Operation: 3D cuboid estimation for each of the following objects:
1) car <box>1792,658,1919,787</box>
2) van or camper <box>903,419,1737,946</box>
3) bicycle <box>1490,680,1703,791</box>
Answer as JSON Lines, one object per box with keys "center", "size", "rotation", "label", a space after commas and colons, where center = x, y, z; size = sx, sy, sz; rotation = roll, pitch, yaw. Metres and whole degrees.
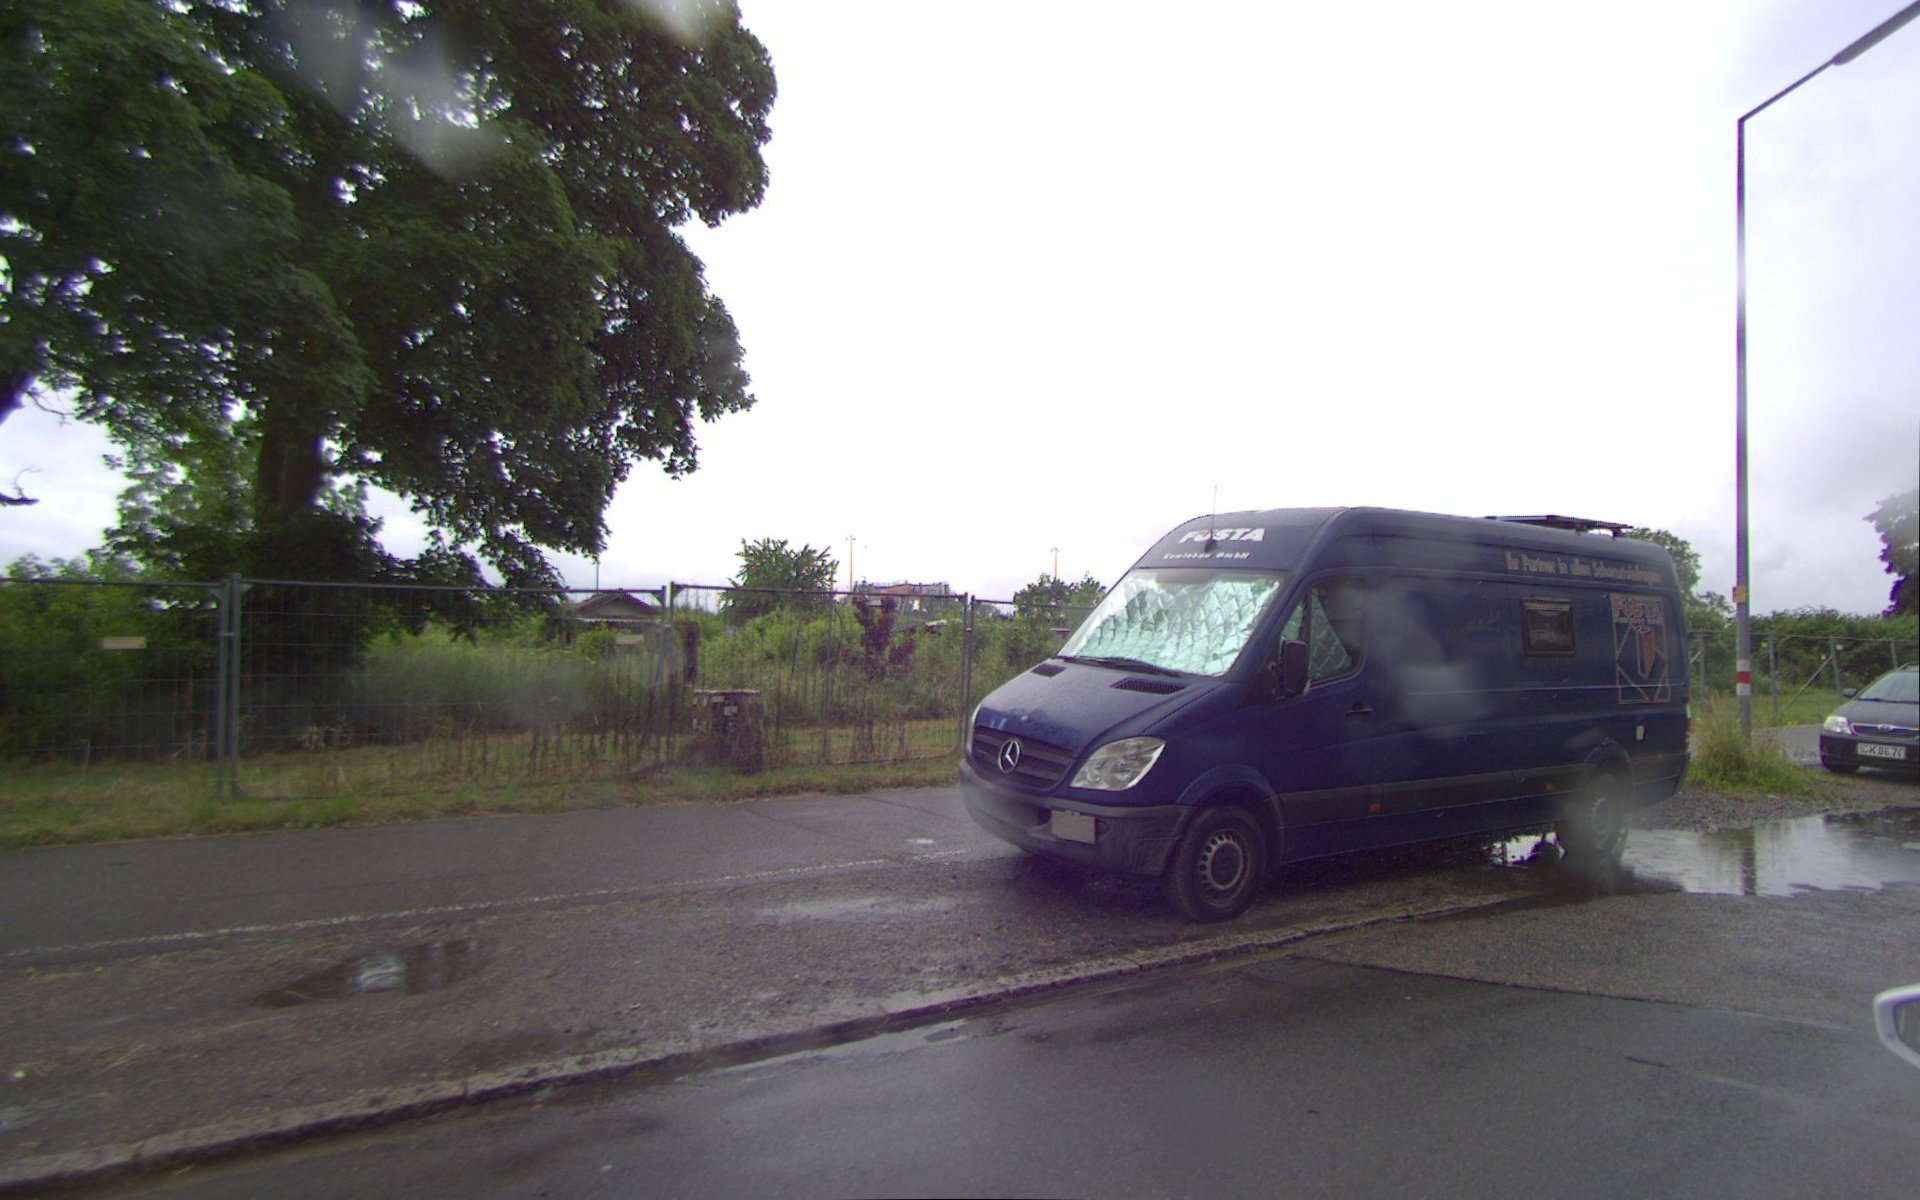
{"center": [13.564, 1.607, 13.769], "size": [4.770, 1.522, 1.766], "rotation": [2, -2, -29], "label": "car"}
{"center": [3.359, 0.592, 8.104], "size": [7.489, 2.751, 2.083], "rotation": [3, -1, -32], "label": "van or camper"}
{"center": [7.600, 1.570, 11.974], "size": [2.640, 1.165, 0.694], "rotation": [1, -1, -21], "label": "bicycle"}
